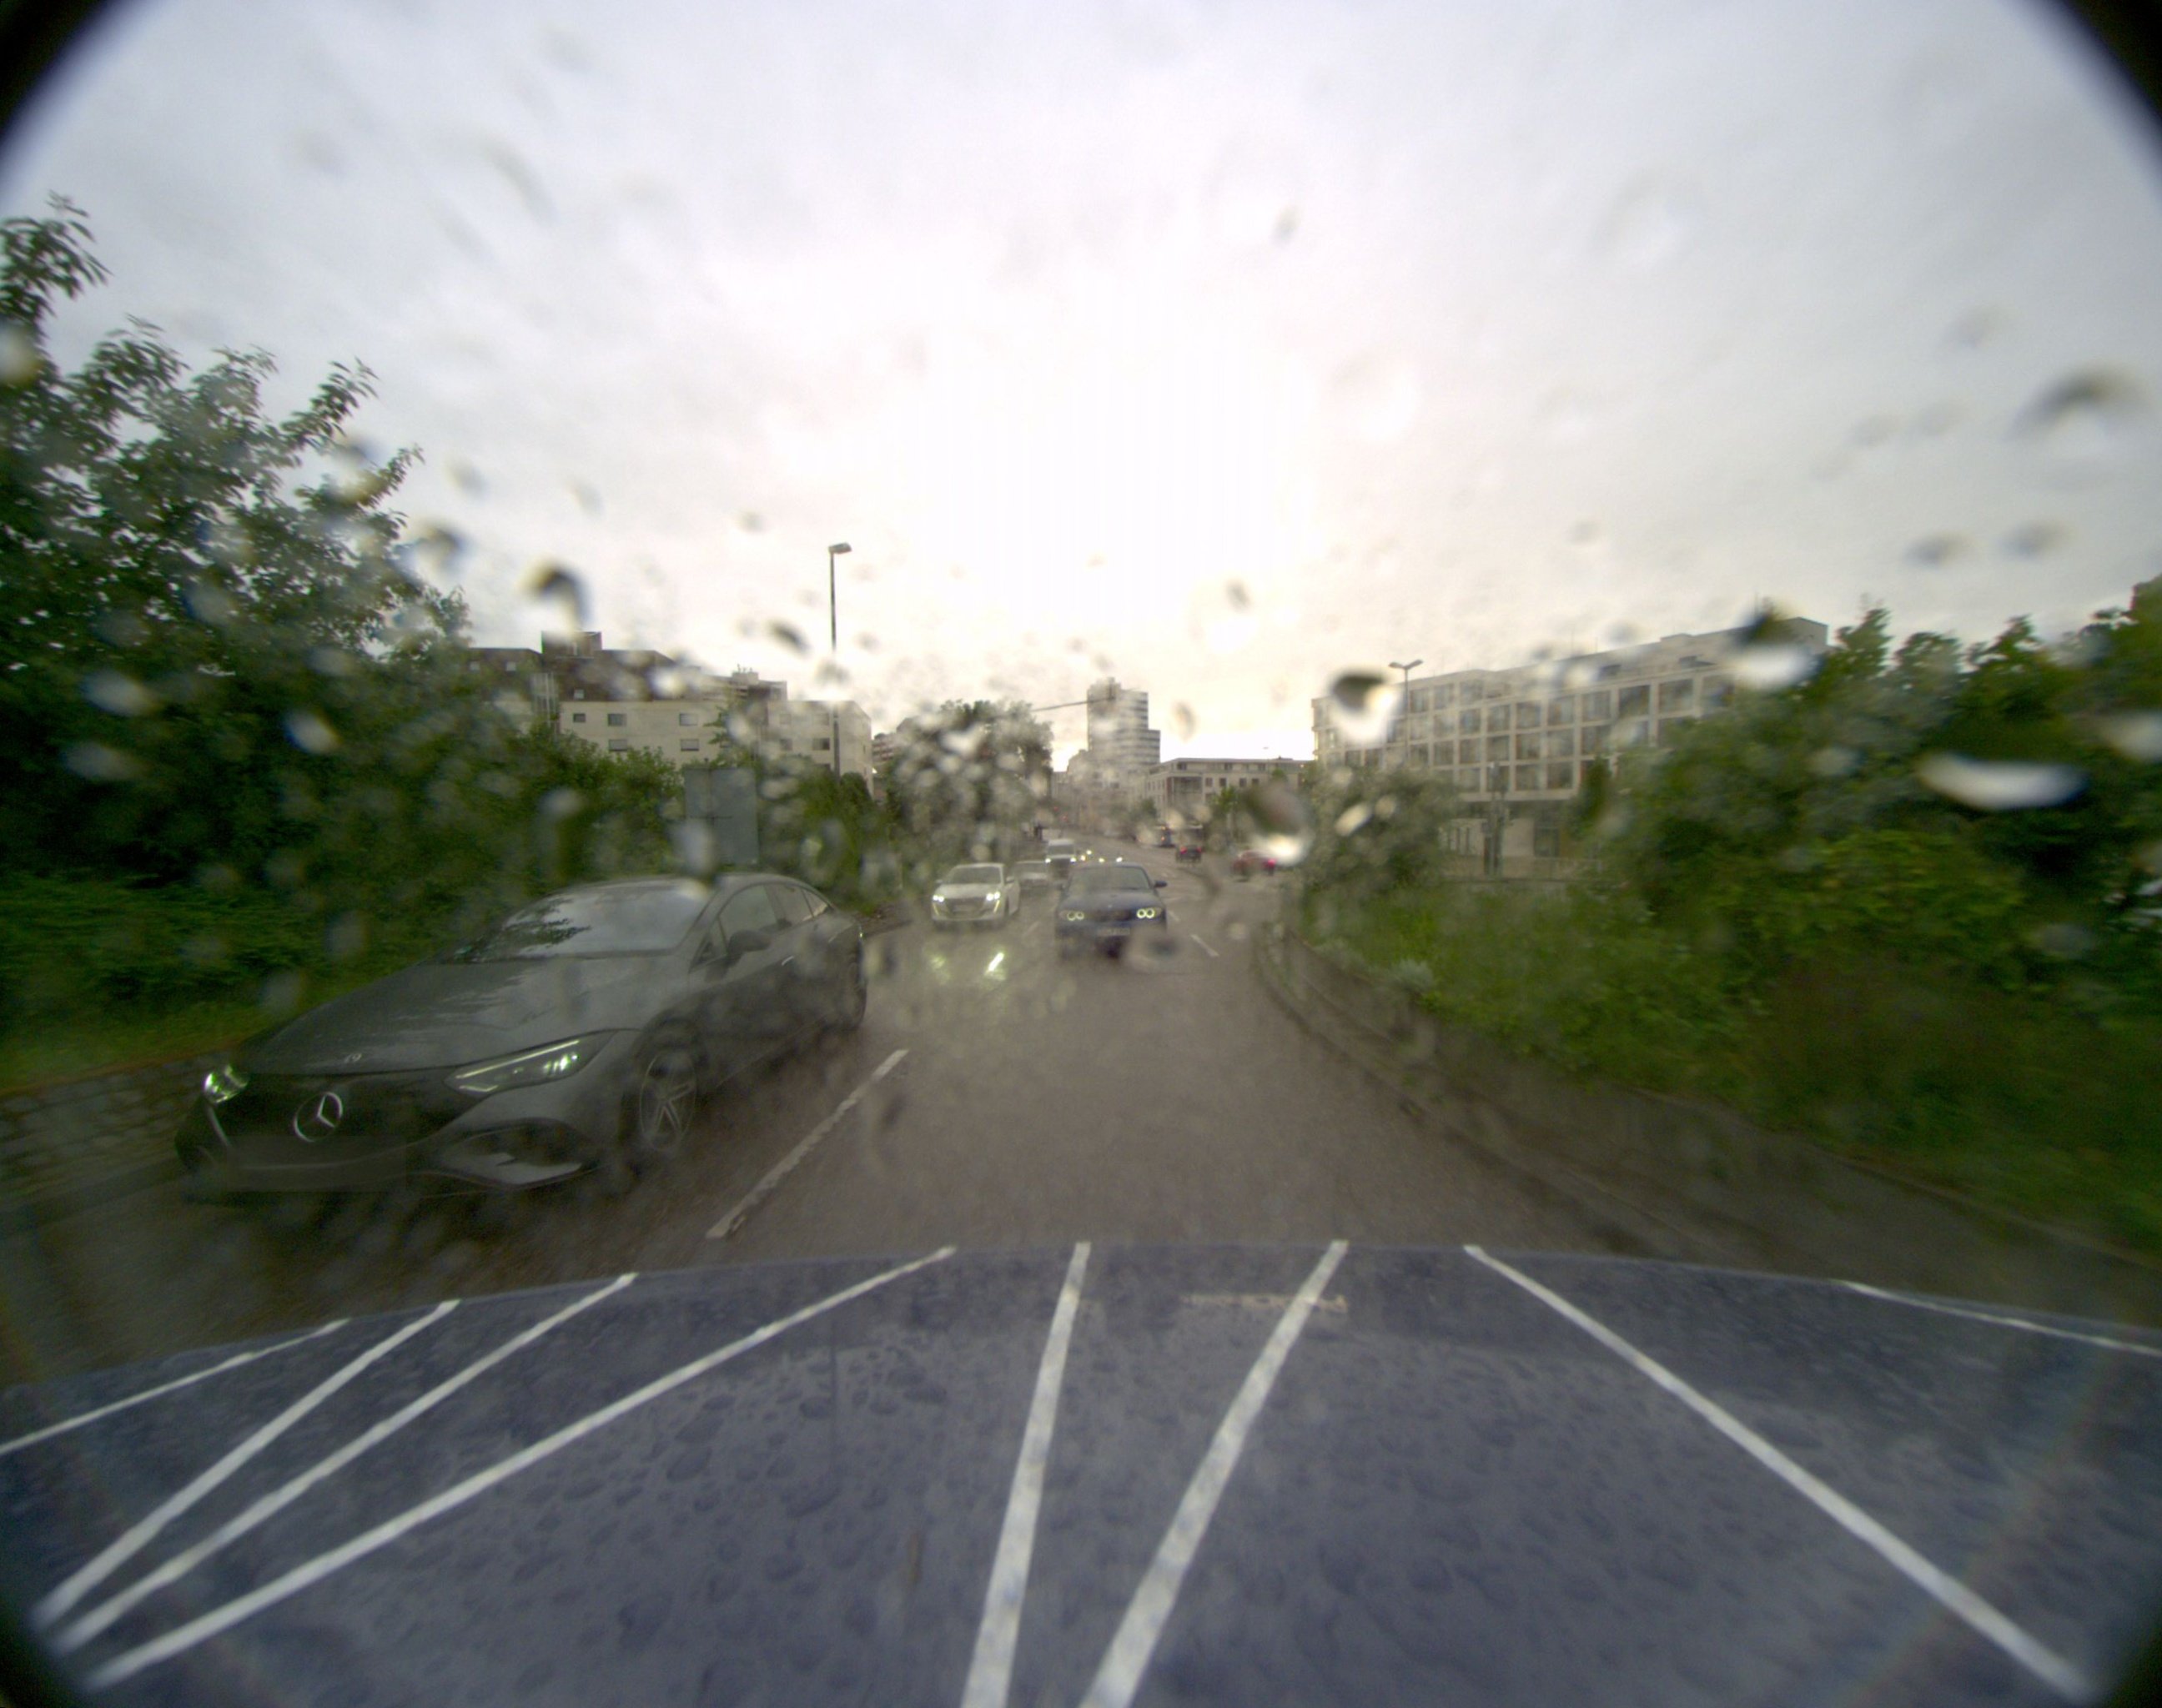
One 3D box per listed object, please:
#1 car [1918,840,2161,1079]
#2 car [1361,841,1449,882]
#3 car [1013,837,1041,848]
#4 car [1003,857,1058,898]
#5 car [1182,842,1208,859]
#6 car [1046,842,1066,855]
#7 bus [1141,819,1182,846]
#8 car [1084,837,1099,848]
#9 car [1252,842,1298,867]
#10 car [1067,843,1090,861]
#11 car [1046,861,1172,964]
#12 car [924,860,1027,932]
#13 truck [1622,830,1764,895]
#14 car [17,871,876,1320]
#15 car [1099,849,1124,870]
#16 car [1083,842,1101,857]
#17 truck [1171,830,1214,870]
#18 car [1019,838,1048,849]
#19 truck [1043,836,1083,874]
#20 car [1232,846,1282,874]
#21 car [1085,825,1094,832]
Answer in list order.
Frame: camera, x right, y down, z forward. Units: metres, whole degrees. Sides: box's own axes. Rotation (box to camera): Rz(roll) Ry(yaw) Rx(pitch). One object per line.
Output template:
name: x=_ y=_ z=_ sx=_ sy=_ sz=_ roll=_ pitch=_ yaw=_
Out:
car: x=8.518 y=0.746 z=4.563 sx=1.998 sy=1.652 sz=4.597 roll=-1 pitch=1 yaw=2
car: x=13.160 y=0.260 z=31.156 sx=1.998 sy=1.569 sz=4.000 roll=0 pitch=1 yaw=2
car: x=-7.950 y=-1.726 z=111.222 sx=3.999 sy=1.412 sz=1.701 roll=-3 pitch=2 yaw=-7
car: x=-2.000 y=0.915 z=30.797 sx=1.717 sy=1.369 sz=3.734 roll=-3 pitch=1 yaw=3
car: x=10.351 y=-0.337 z=69.407 sx=1.907 sy=1.543 sz=4.074 roll=0 pitch=1 yaw=2
car: x=-2.842 y=-0.645 z=86.887 sx=1.998 sy=1.344 sz=3.803 roll=1 pitch=2 yaw=3
bus: x=12.804 y=-3.445 z=122.751 sx=2.952 sy=3.973 sz=18.214 roll=0 pitch=2 yaw=-6
car: x=1.407 y=-1.592 z=105.544 sx=1.998 sy=1.543 sz=4.000 roll=-2 pitch=0 yaw=0
car: x=12.791 y=0.005 z=50.364 sx=1.955 sy=1.470 sz=4.294 roll=1 pitch=2 yaw=0
car: x=-0.185 y=-0.199 z=69.900 sx=1.998 sy=1.543 sz=4.000 roll=-2 pitch=0 yaw=0
car: x=0.499 y=0.870 z=12.867 sx=1.786 sy=1.335 sz=3.704 roll=-2 pitch=1 yaw=3
car: x=-2.466 y=0.945 z=18.734 sx=1.717 sy=1.389 sz=4.035 roll=-3 pitch=1 yaw=3
truck: x=25.669 y=0.292 z=31.830 sx=6.184 sy=2.524 sz=2.223 roll=0 pitch=2 yaw=-27
car: x=-3.012 y=0.976 z=5.148 sx=1.836 sy=1.436 sz=4.550 roll=-3 pitch=1 yaw=1
car: x=2.289 y=0.349 z=55.784 sx=1.717 sy=1.369 sz=3.734 roll=-2 pitch=1 yaw=3
car: x=1.218 y=-0.477 z=85.133 sx=1.998 sy=1.543 sz=4.000 roll=-2 pitch=0 yaw=0
truck: x=7.268 y=-0.349 z=50.181 sx=2.168 sy=2.426 sz=6.199 roll=-2 pitch=1 yaw=3
car: x=-6.747 y=-1.541 z=108.484 sx=3.999 sy=1.412 sz=1.998 roll=-3 pitch=2 yaw=-7
truck: x=-1.138 y=-0.012 z=51.836 sx=2.168 sy=2.426 sz=6.199 roll=-2 pitch=1 yaw=3
car: x=10.135 y=0.296 z=44.128 sx=1.998 sy=1.406 sz=4.430 roll=-1 pitch=2 yaw=2
car: x=1.979 y=-5.913 z=178.405 sx=1.818 sy=1.421 sz=3.942 roll=-3 pitch=3 yaw=4
